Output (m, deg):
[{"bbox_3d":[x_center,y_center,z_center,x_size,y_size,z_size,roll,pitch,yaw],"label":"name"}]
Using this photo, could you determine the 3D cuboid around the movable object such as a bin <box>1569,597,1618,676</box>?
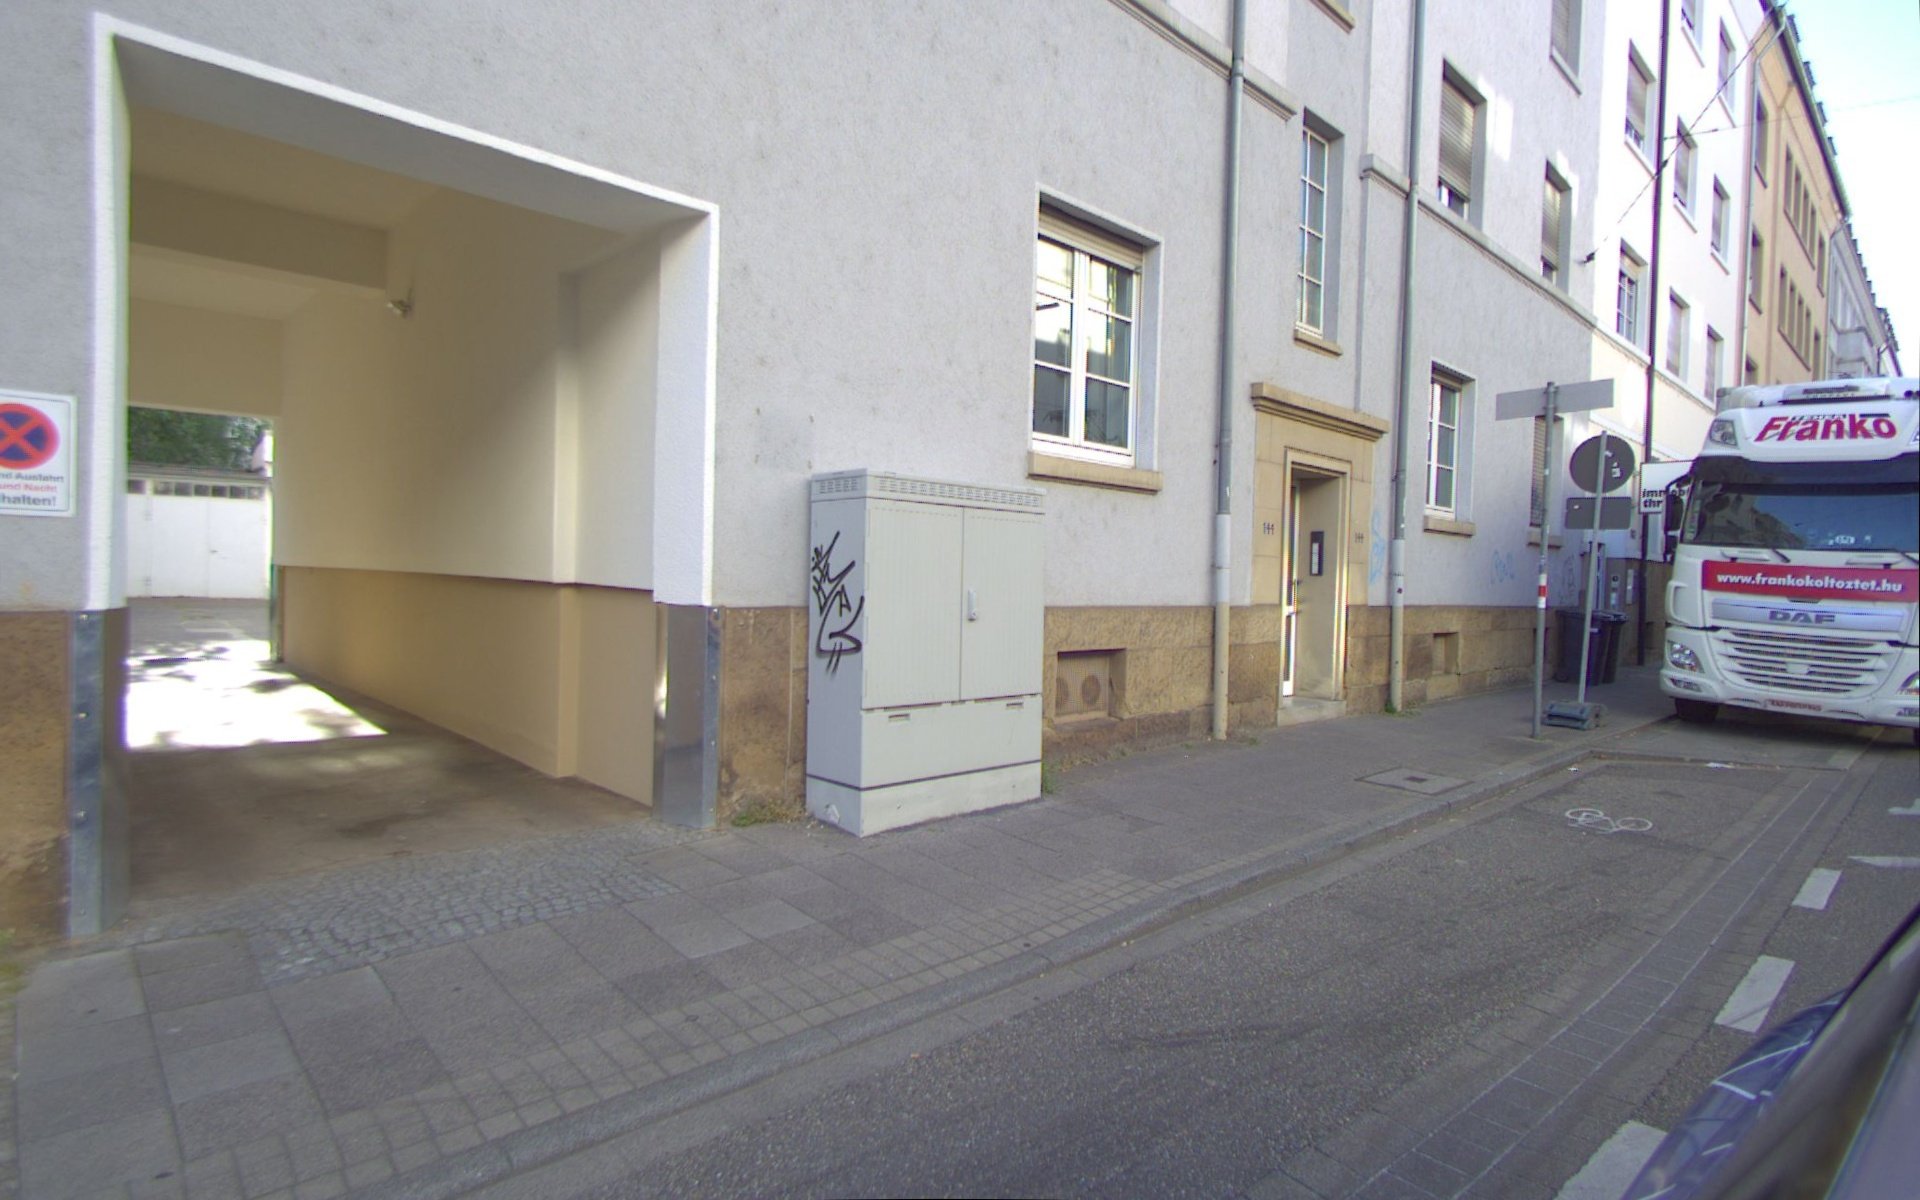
[{"bbox_3d":[9.107,0.511,14.551,0.511,1.106,0.488,0,0,45],"label":"movable object such as a bin"}]

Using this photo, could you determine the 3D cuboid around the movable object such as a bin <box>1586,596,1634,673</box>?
[{"bbox_3d":[9.611,0.503,14.962,0.511,1.106,0.488,0,0,45],"label":"movable object such as a bin"}]

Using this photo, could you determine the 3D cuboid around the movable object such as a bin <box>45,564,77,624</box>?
[{"bbox_3d":[-14.383,-0.101,16.189,0.366,0.919,0.420,0,3,-44],"label":"movable object such as a bin"}]

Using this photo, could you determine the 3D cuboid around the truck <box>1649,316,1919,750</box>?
[{"bbox_3d":[12.572,-0.608,13.824,11.511,4.012,2.894,0,0,-44],"label":"truck"}]

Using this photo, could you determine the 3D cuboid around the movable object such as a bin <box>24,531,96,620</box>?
[{"bbox_3d":[-14.935,-0.419,16.789,0.874,1.409,0.758,0,4,-44],"label":"movable object such as a bin"}]
